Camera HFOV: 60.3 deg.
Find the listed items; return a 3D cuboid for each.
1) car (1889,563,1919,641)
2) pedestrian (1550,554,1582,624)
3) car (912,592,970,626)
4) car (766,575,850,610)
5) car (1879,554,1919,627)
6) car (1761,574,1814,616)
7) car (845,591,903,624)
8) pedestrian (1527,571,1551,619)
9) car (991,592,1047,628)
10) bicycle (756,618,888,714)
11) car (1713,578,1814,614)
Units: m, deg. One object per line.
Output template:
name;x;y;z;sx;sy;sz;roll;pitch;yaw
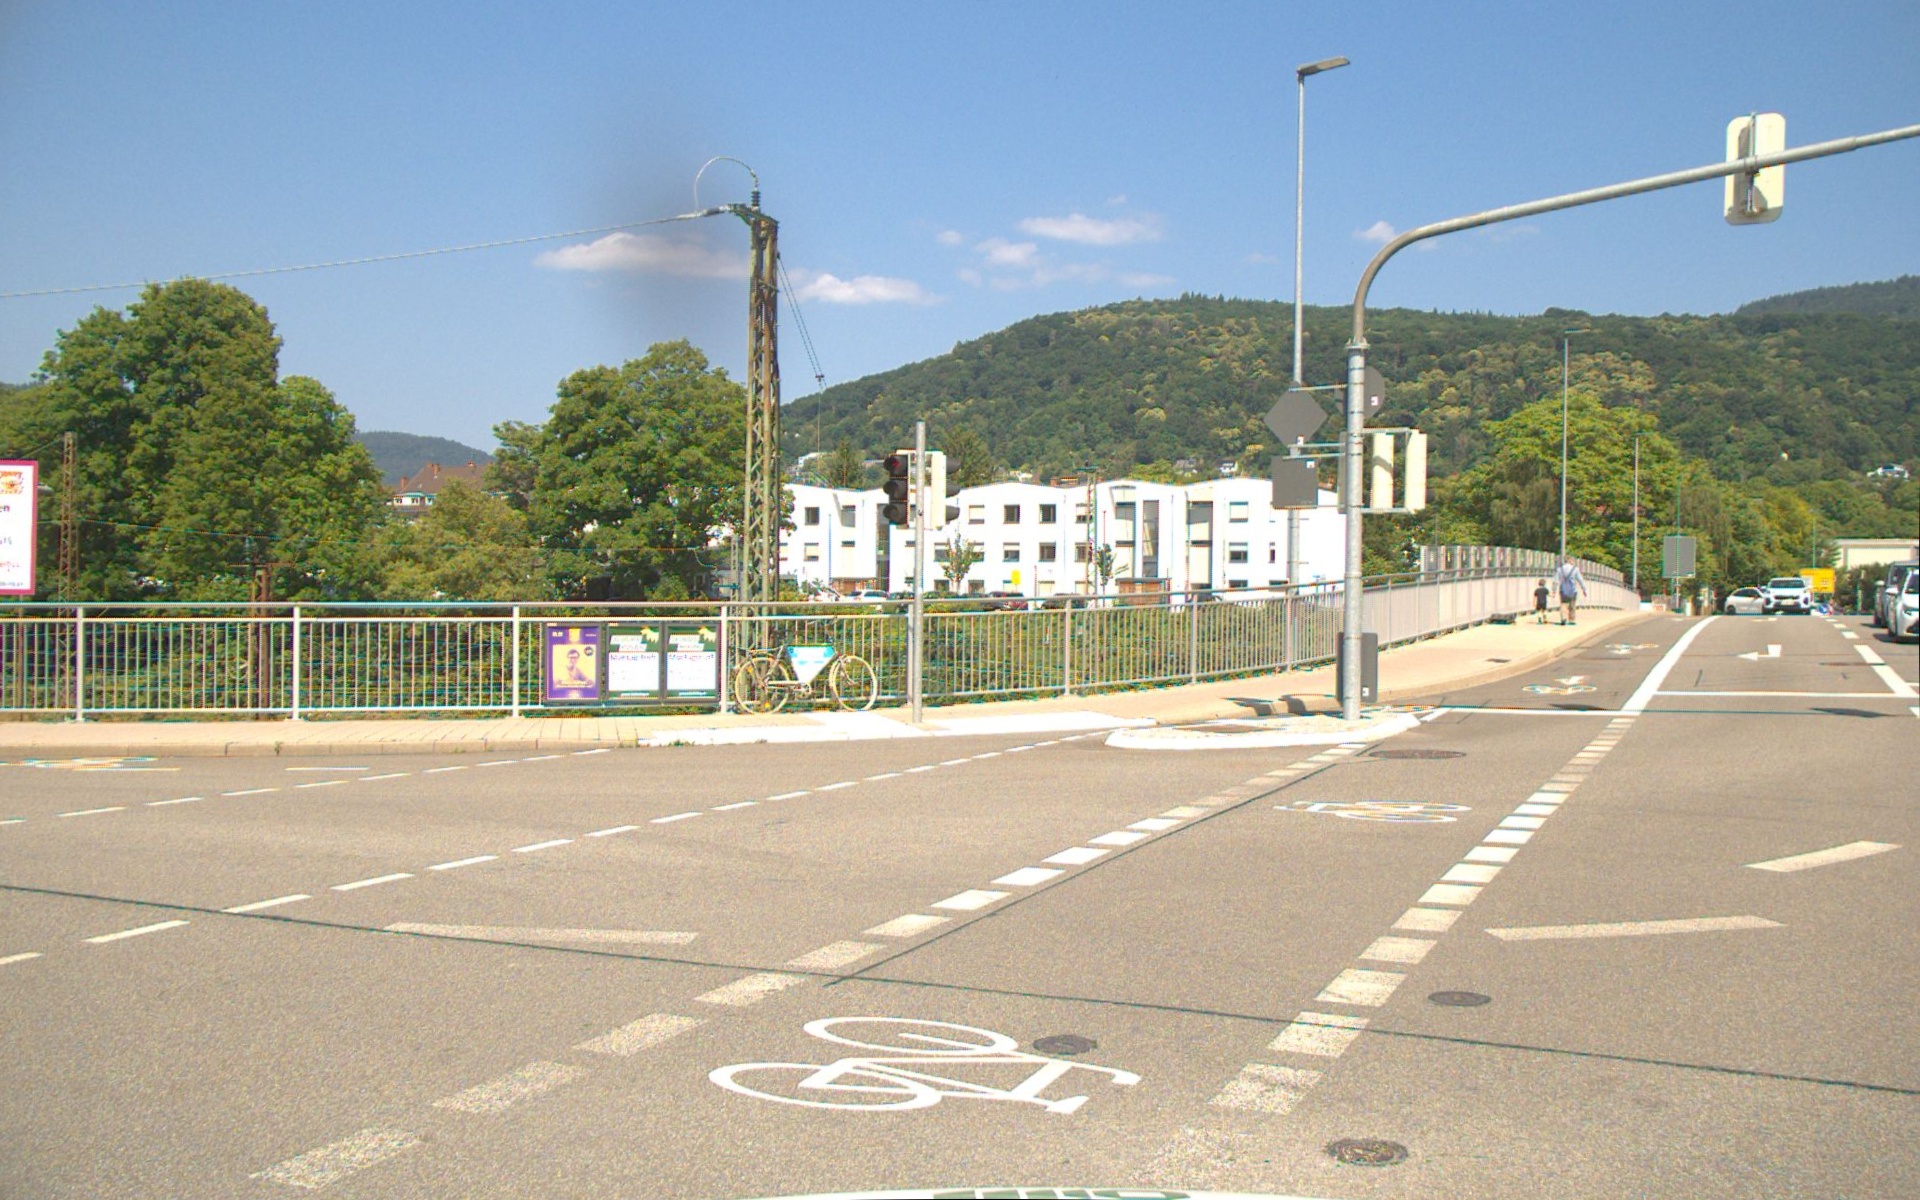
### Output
car;19.791;0.010;33.383;1.698;1.495;4.404;1;1;28
pedestrian;14.560;-0.271;39.753;0.631;1.646;0.920;1;1;26
car;-1.148;0.532;103.845;1.953;2.049;4.468;1;1;24
car;-9.394;-0.475;102.740;4.869;2.149;2.002;0;1;7
car;23.035;-0.243;39.595;1.698;1.655;4.436;1;1;28
car;35.653;-0.240;71.363;1.954;1.749;4.629;1;1;26
car;-5.593;0.448;107.779;1.953;2.049;4.468;1;1;24
pedestrian;13.975;-0.124;39.900;0.501;1.141;0.476;1;1;26
car;3.663;0.589;101.658;1.953;2.049;4.468;1;1;24
bicycle;-1.665;0.793;20.089;1.594;1.120;0.296;0;1;-24
car;41.162;-0.223;84.839;1.959;1.749;5.047;0;1;-12
